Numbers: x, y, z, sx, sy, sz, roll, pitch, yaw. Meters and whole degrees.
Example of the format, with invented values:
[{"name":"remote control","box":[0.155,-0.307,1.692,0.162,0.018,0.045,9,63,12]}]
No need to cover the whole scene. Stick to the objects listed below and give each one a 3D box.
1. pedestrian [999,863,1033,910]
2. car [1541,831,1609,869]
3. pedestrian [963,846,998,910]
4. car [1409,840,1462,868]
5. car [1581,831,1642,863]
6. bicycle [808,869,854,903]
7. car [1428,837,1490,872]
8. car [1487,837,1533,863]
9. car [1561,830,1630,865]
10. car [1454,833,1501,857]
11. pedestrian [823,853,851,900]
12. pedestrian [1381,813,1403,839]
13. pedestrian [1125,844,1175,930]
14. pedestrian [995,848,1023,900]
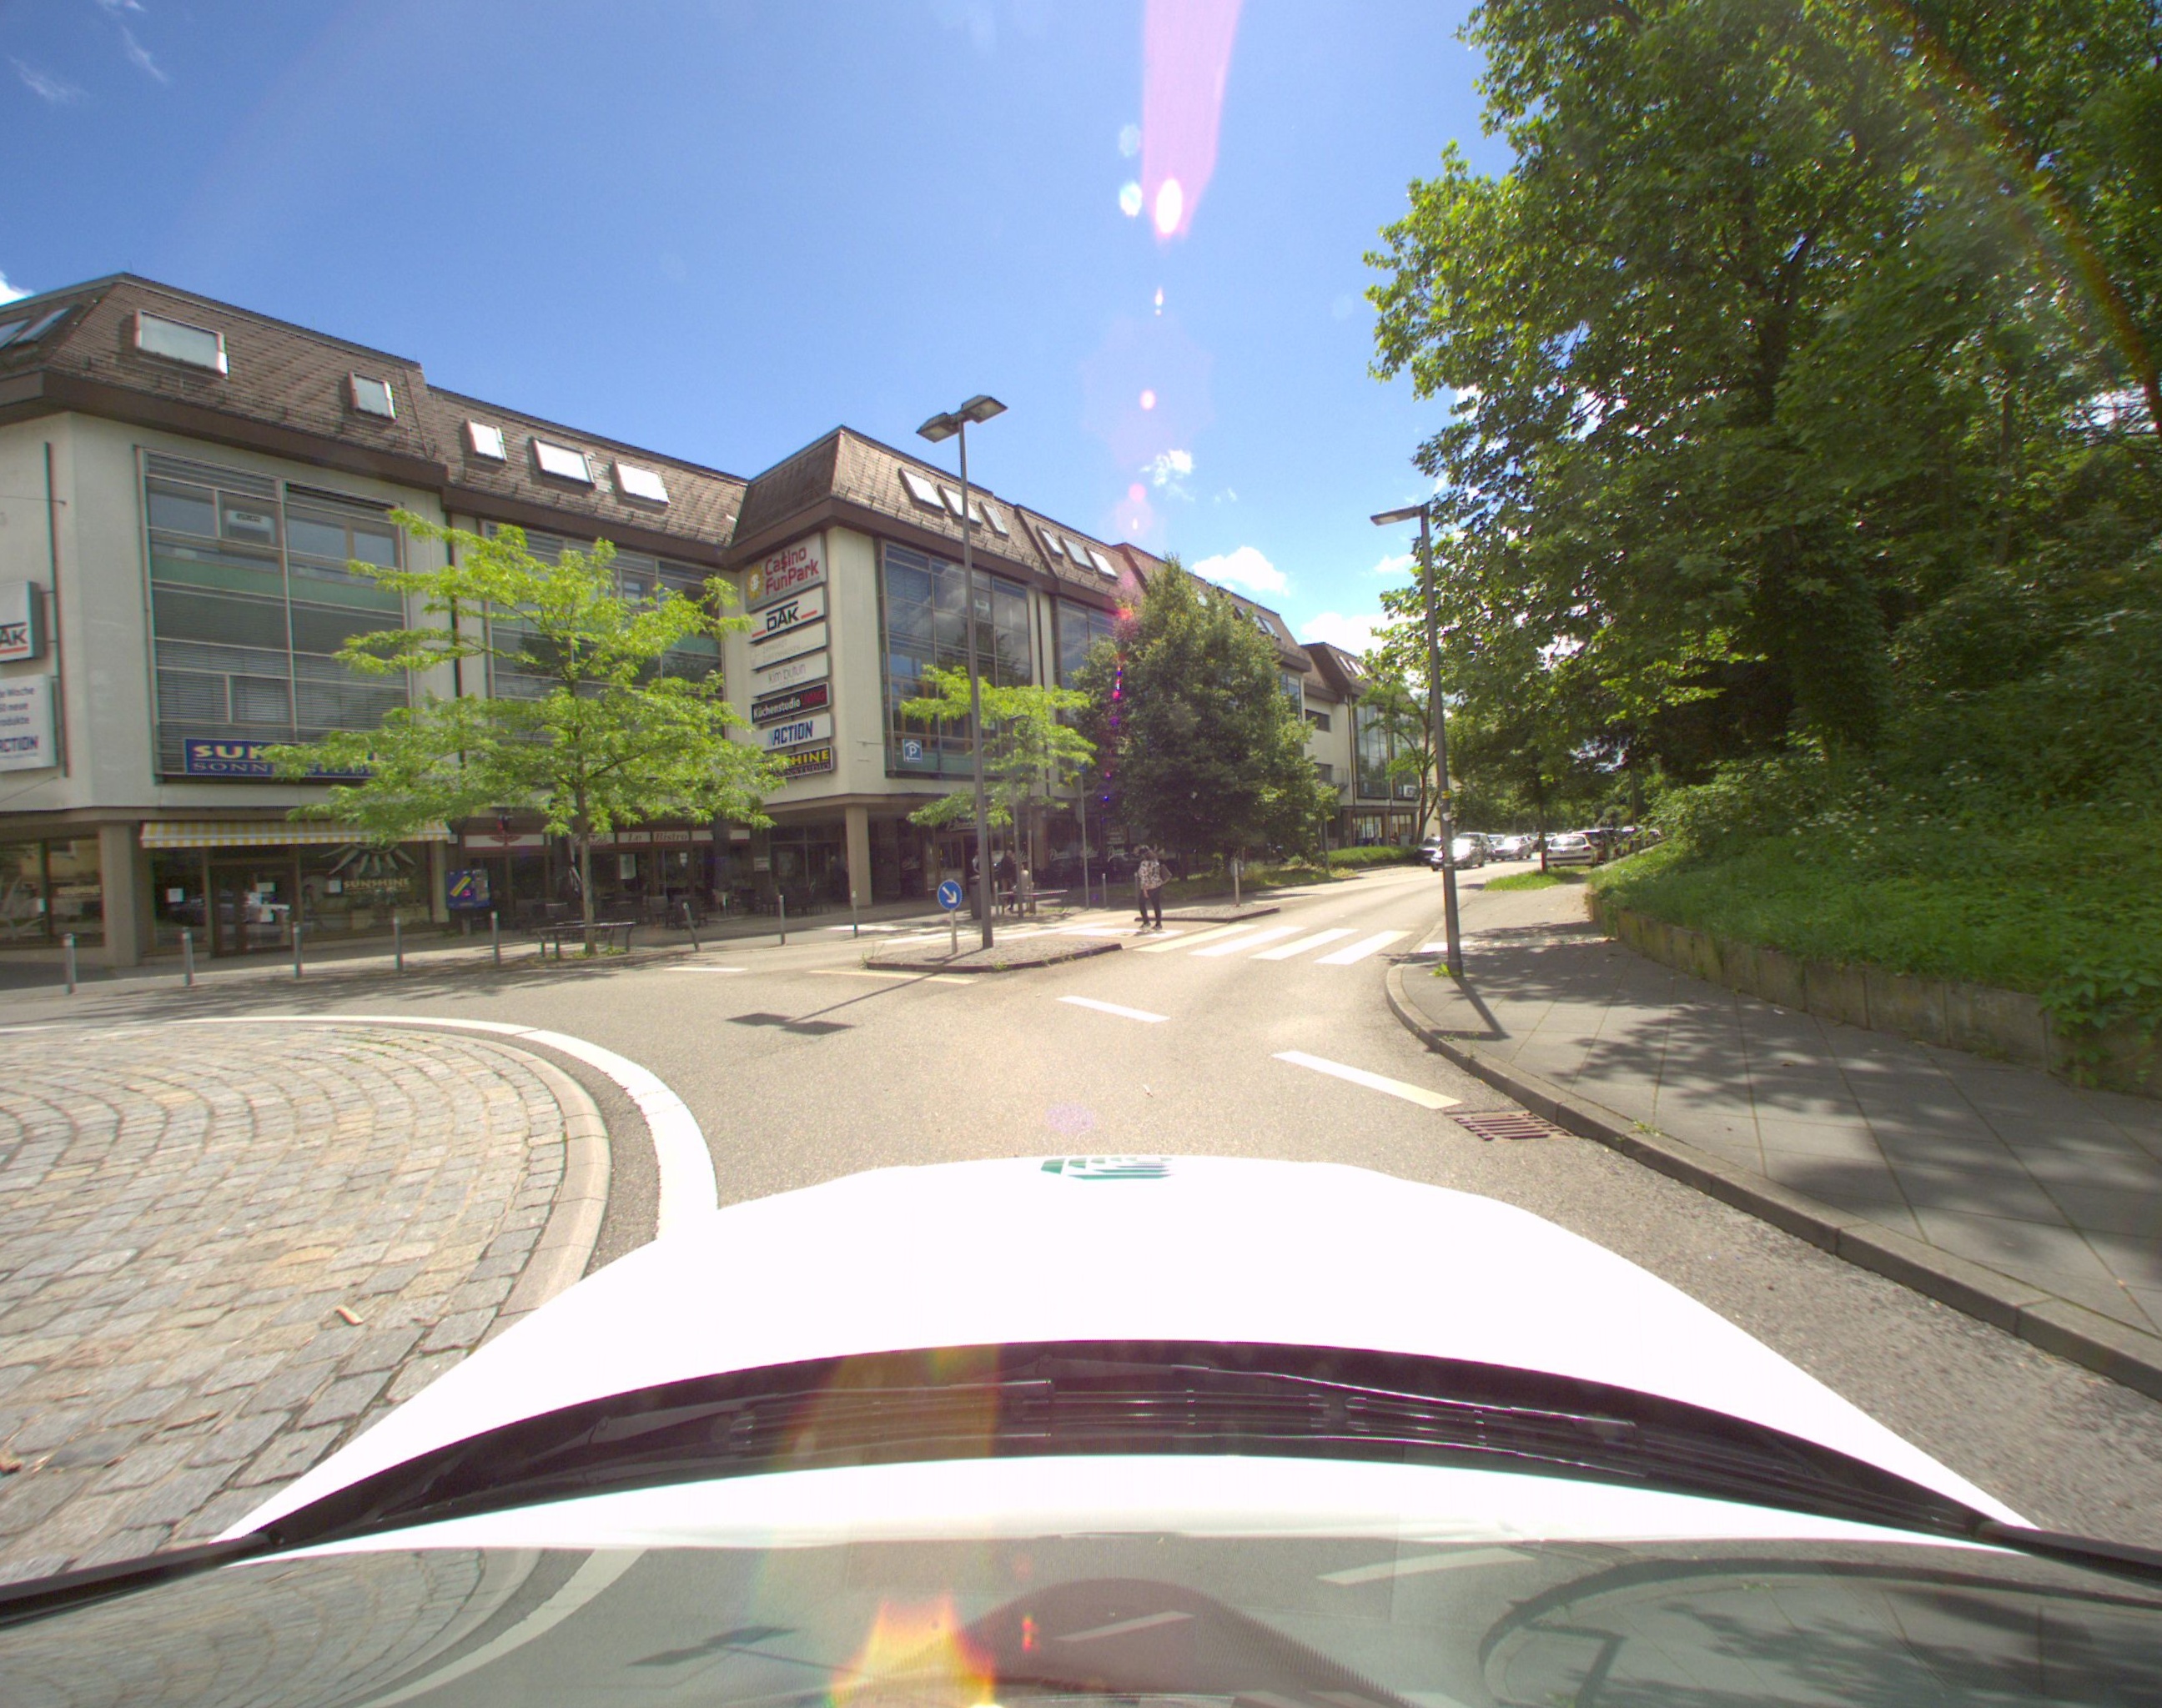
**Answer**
[{"name":"pedestrian","box":[-1.837,0.909,22.918,0.621,1.285,0.689,-2,0,-42]},{"name":"car","box":[19.928,-0.183,32.780,1.734,1.330,4.026,-6,-2,38]},{"name":"pedestrian","box":[-2.919,0.680,23.679,0.689,1.818,0.621,-2,1,41]},{"name":"car","box":[20.787,-0.037,47.689,1.974,1.508,4.614,-2,0,34]},{"name":"car","box":[26.880,-0.358,41.242,1.910,1.486,4.025,-2,1,43]},{"name":"bicycle","box":[-9.064,1.158,29.561,1.538,1.168,0.494,-1,-1,-11]},{"name":"car","box":[18.766,-0.010,40.347,1.974,1.508,4.614,-4,-1,34]},{"name":"car","box":[27.169,-0.265,51.518,1.974,1.508,4.614,-3,0,35]},{"name":"car","box":[23.462,-0.317,37.106,1.910,1.486,4.025,-2,0,43]},{"name":"car","box":[27.684,-0.645,56.749,1.974,1.508,4.614,-2,0,38]},{"name":"pedestrian","box":[-8.896,0.832,29.690,0.609,1.674,0.702,-2,0,35]},{"name":"pedestrian","box":[25.139,-2.253,65.870,1.331,2.014,1.095,-3,-2,34]},{"name":"pedestrian","box":[1.291,0.608,15.315,0.762,1.554,0.777,-2,0,-7]},{"name":"pedestrian","box":[-2.391,0.651,26.998,0.610,1.674,0.702,-2,0,23]}]
